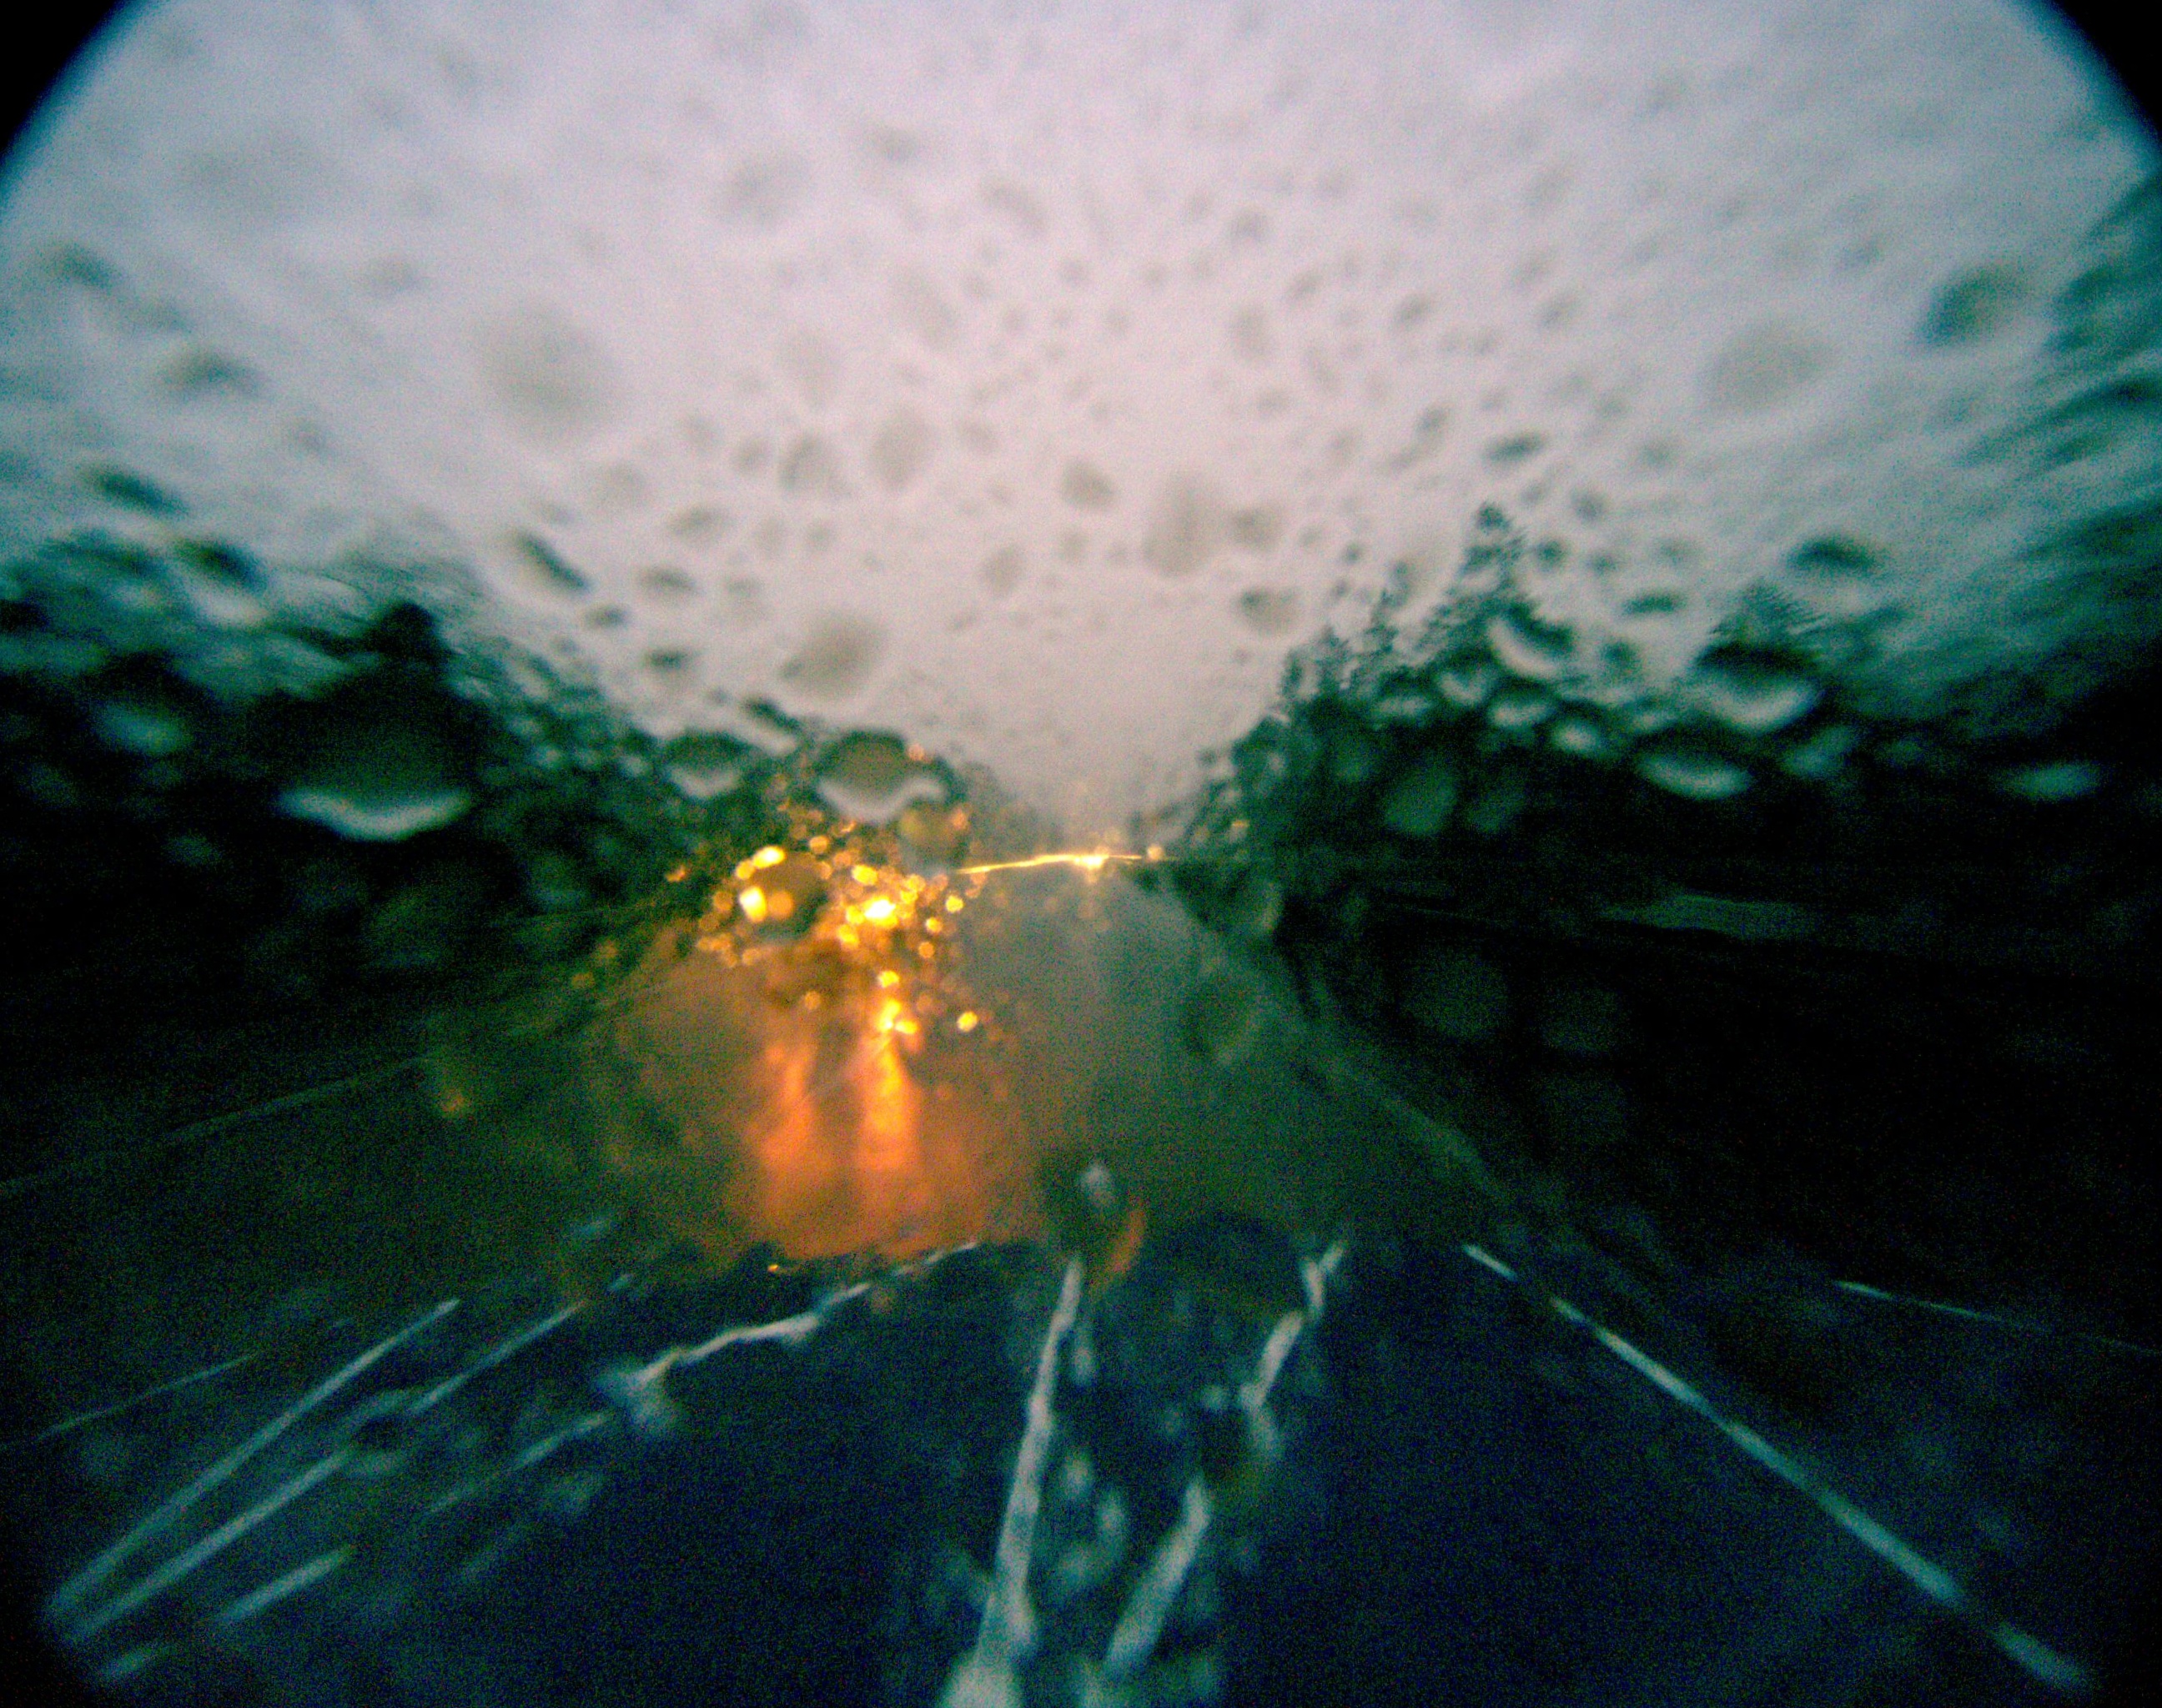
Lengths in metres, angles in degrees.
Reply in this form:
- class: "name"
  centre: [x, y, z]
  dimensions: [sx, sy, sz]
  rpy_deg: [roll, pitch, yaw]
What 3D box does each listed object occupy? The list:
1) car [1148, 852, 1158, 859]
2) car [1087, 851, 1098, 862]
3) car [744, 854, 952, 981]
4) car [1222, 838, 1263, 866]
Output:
- class: "car"
  centre: [15.113, 0.394, 160.022]
  dimensions: [1.680, 1.381, 3.981]
  rpy_deg: [-2, 0, 0]
- class: "car"
  centre: [2.146, 0.472, 143.730]
  dimensions: [1.998, 1.827, 4.000]
  rpy_deg: [-4, 1, 1]
- class: "car"
  centre: [-3.641, 0.887, 12.865]
  dimensions: [2.075, 1.688, 4.460]
  rpy_deg: [-2, 0, 0]
- class: "car"
  centre: [12.328, -0.137, 58.427]
  dimensions: [1.999, 2.002, 4.784]
  rpy_deg: [-2, 0, -1]
